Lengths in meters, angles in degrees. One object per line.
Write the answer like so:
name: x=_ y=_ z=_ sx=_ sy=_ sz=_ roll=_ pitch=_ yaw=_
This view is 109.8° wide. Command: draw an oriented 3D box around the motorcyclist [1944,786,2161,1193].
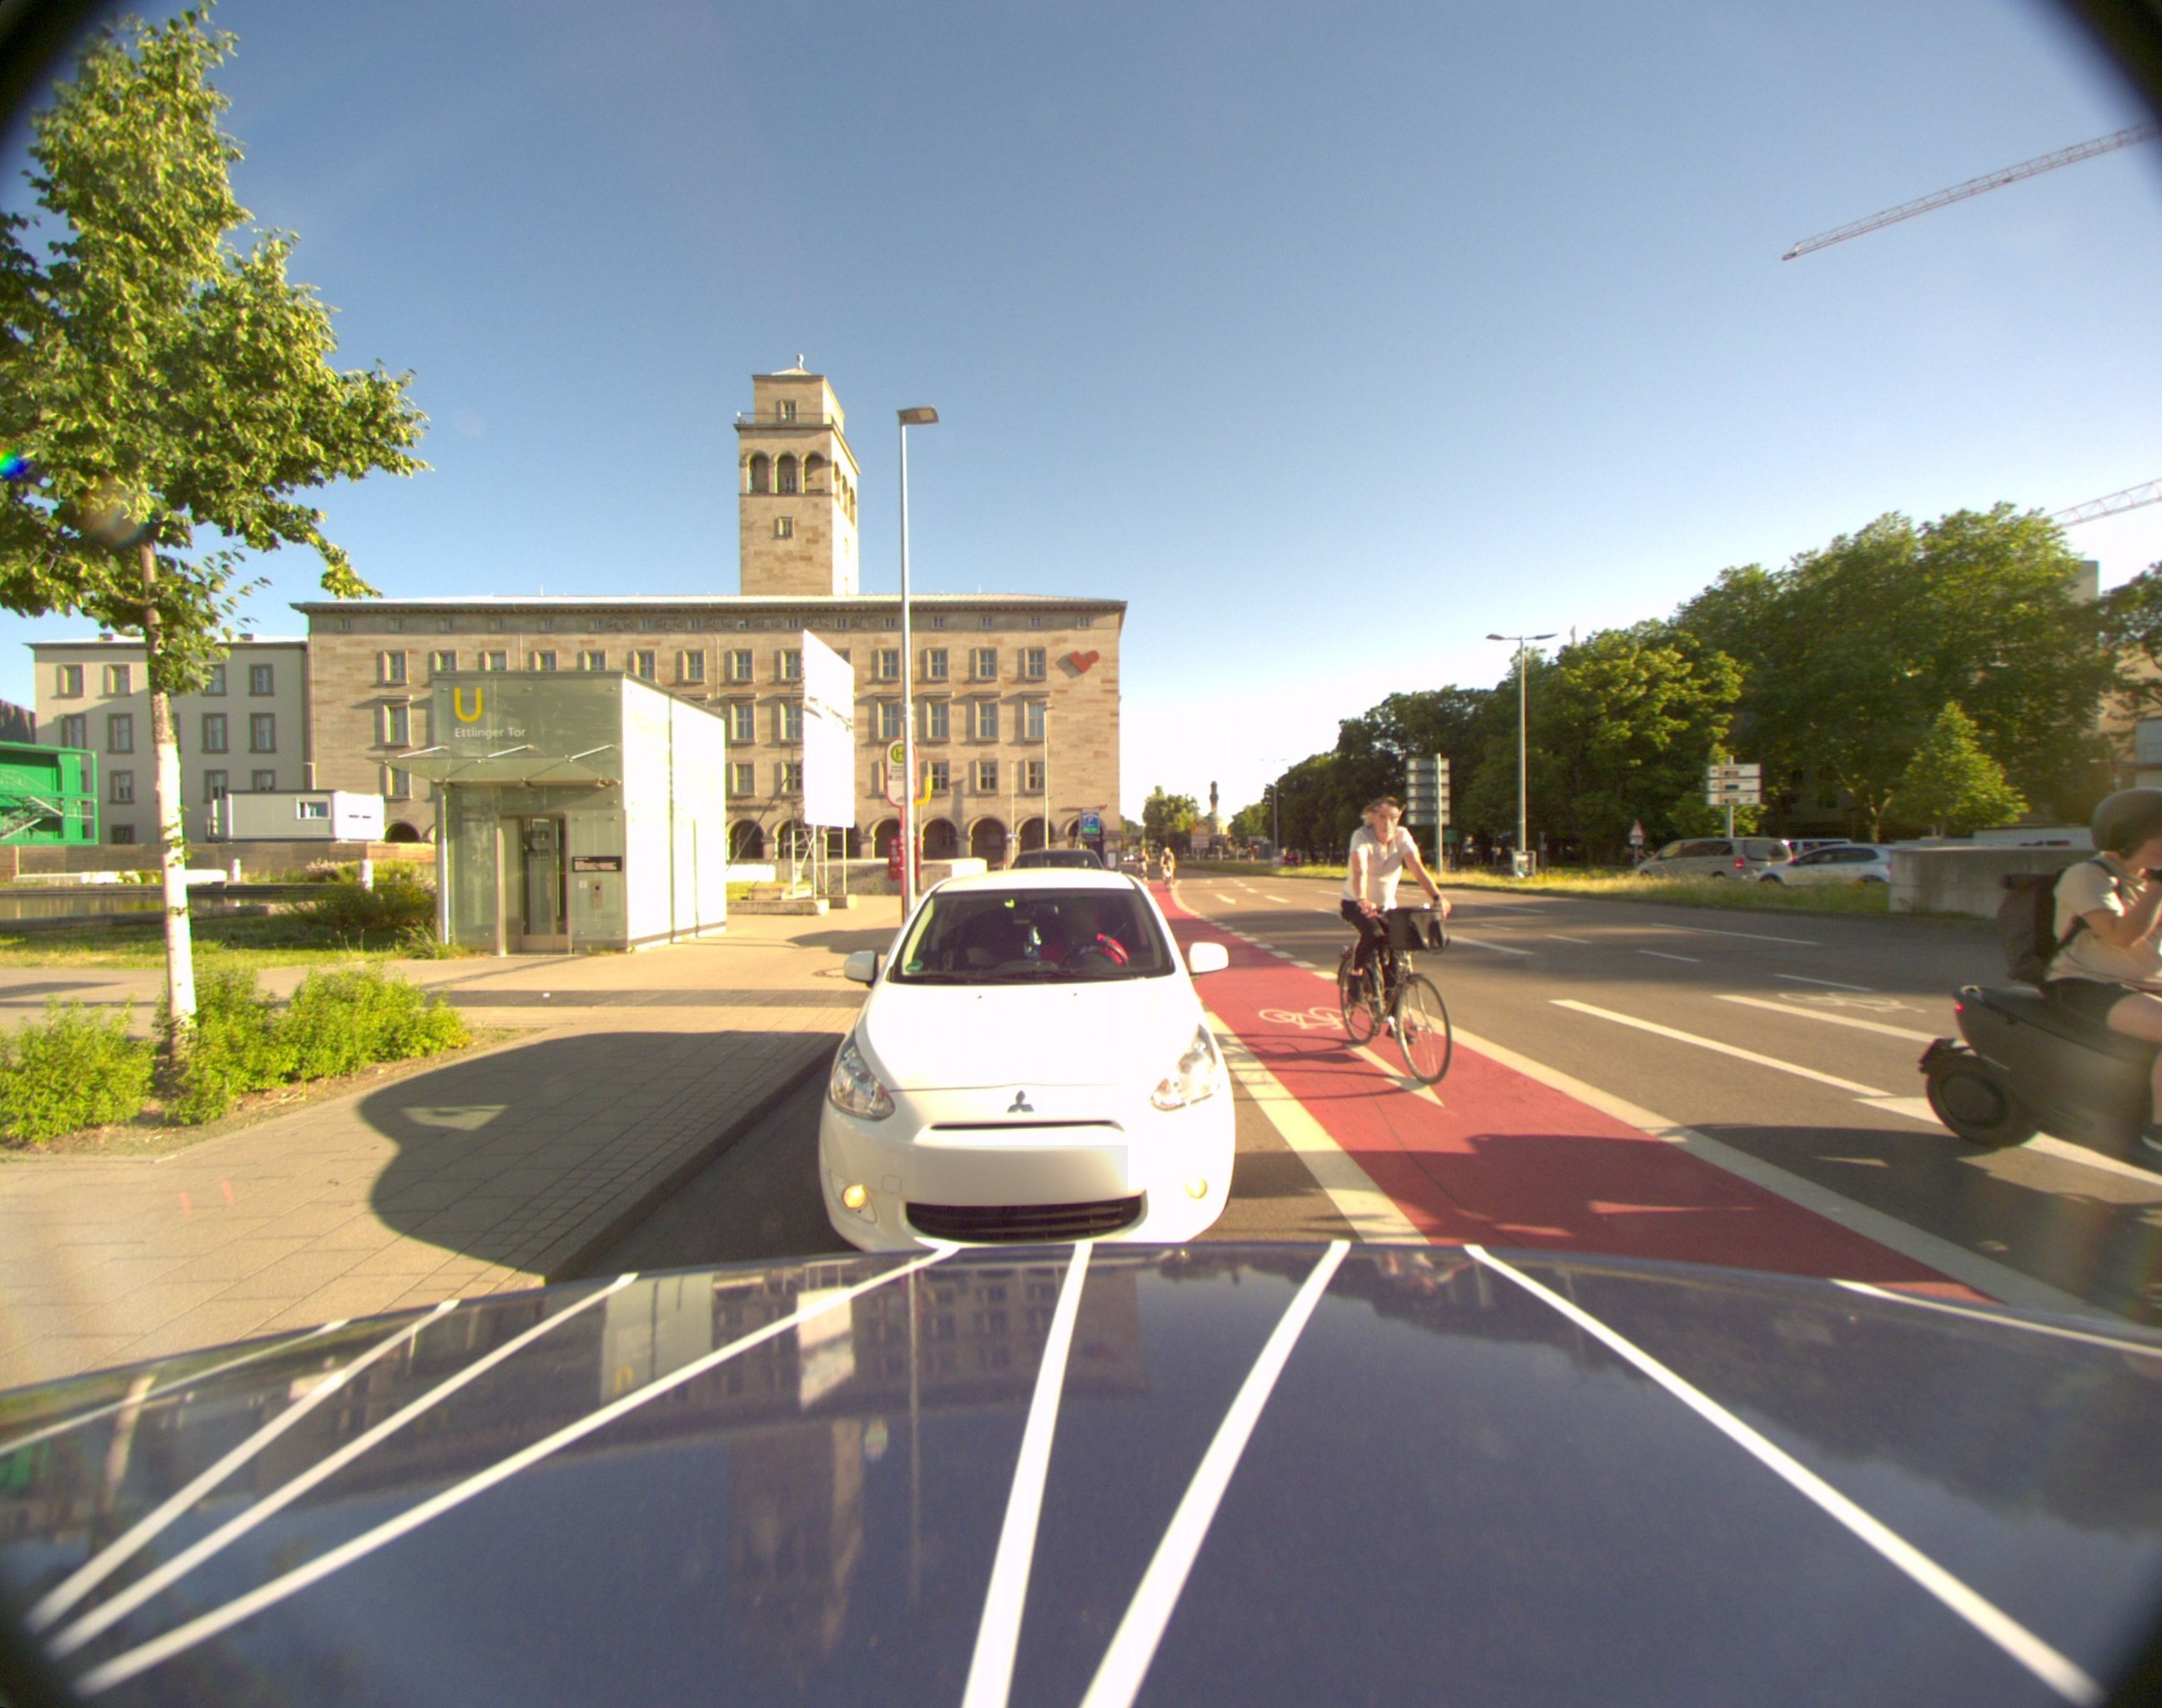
motorcyclist: x=4.270 y=0.479 z=2.955 sx=0.823 sy=1.455 sz=0.877 roll=-1 pitch=1 yaw=1

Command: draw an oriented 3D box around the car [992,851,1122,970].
car: x=-0.317 y=0.796 z=12.795 sx=1.833 sy=1.660 sz=4.000 roll=-1 pitch=0 yaw=1

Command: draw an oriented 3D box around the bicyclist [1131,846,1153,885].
bicyclist: x=2.504 y=0.466 z=31.319 sx=0.823 sy=1.568 sz=0.877 roll=-1 pitch=1 yaw=1

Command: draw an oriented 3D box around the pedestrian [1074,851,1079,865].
pedestrian: x=-0.602 y=0.590 z=110.610 sx=0.612 sy=2.002 sz=0.727 roll=-2 pitch=1 yaw=0

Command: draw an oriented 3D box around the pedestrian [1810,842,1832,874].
pedestrian: x=34.181 y=0.180 z=35.103 sx=0.499 sy=1.502 sz=0.494 roll=-1 pitch=1 yaw=1

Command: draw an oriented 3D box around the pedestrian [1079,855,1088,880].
pedestrian: x=0.155 y=0.900 z=52.092 sx=0.552 sy=1.692 sz=0.553 roll=-1 pitch=1 yaw=-1

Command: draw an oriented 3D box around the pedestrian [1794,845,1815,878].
pedestrian: x=33.304 y=0.349 z=34.977 sx=0.499 sy=1.502 sz=0.494 roll=-1 pitch=1 yaw=1

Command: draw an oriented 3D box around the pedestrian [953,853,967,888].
pedestrian: x=-5.965 y=0.786 z=37.466 sx=0.595 sy=1.700 sz=0.583 roll=-1 pitch=1 yaw=1

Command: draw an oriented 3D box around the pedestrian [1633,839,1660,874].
pedestrian: x=33.320 y=0.160 z=44.768 sx=0.958 sy=2.002 sz=0.839 roll=-3 pitch=1 yaw=-17

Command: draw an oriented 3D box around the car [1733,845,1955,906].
car: x=19.113 y=0.482 z=19.318 sx=1.728 sy=1.369 sz=3.943 roll=-1 pitch=0 yaw=1

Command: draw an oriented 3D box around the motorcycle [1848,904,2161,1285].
motorcycle: x=4.272 y=0.899 z=2.858 sx=0.828 sy=1.273 sz=1.944 roll=-1 pitch=0 yaw=1

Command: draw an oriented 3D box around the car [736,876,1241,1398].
car: x=-0.255 y=0.927 z=4.313 sx=1.519 sy=1.447 sz=4.000 roll=-1 pitch=0 yaw=1

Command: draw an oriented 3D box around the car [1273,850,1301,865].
car: x=21.296 y=0.378 z=78.804 sx=1.881 sy=1.472 sz=3.980 roll=-1 pitch=0 yaw=1

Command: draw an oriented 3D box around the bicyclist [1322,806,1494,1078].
bicyclist: x=2.178 y=0.550 z=5.173 sx=0.807 sy=1.690 sz=0.852 roll=-1 pitch=1 yaw=1

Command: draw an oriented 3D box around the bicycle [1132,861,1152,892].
bicycle: x=2.493 y=0.909 z=31.186 sx=0.689 sy=1.185 sz=1.506 roll=-1 pitch=1 yaw=1

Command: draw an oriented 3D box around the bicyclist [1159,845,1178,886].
bicyclist: x=3.581 y=0.471 z=31.012 sx=0.674 sy=1.649 sz=0.877 roll=-1 pitch=1 yaw=1

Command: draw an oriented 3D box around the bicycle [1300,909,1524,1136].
bicycle: x=2.156 y=1.026 z=5.264 sx=0.741 sy=1.140 sz=1.890 roll=-1 pitch=0 yaw=1

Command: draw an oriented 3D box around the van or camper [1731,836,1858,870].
van or camper: x=42.239 y=-0.049 z=45.066 sx=5.499 sy=1.934 sz=1.951 roll=-1 pitch=0 yaw=4

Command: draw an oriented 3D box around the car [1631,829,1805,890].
car: x=22.158 y=0.166 z=26.761 sx=1.887 sy=1.911 sz=4.930 roll=-1 pitch=0 yaw=-2

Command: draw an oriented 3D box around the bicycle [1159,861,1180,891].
bicycle: x=3.593 y=0.880 z=31.069 sx=0.689 sy=1.185 sz=1.506 roll=-1 pitch=1 yaw=1
